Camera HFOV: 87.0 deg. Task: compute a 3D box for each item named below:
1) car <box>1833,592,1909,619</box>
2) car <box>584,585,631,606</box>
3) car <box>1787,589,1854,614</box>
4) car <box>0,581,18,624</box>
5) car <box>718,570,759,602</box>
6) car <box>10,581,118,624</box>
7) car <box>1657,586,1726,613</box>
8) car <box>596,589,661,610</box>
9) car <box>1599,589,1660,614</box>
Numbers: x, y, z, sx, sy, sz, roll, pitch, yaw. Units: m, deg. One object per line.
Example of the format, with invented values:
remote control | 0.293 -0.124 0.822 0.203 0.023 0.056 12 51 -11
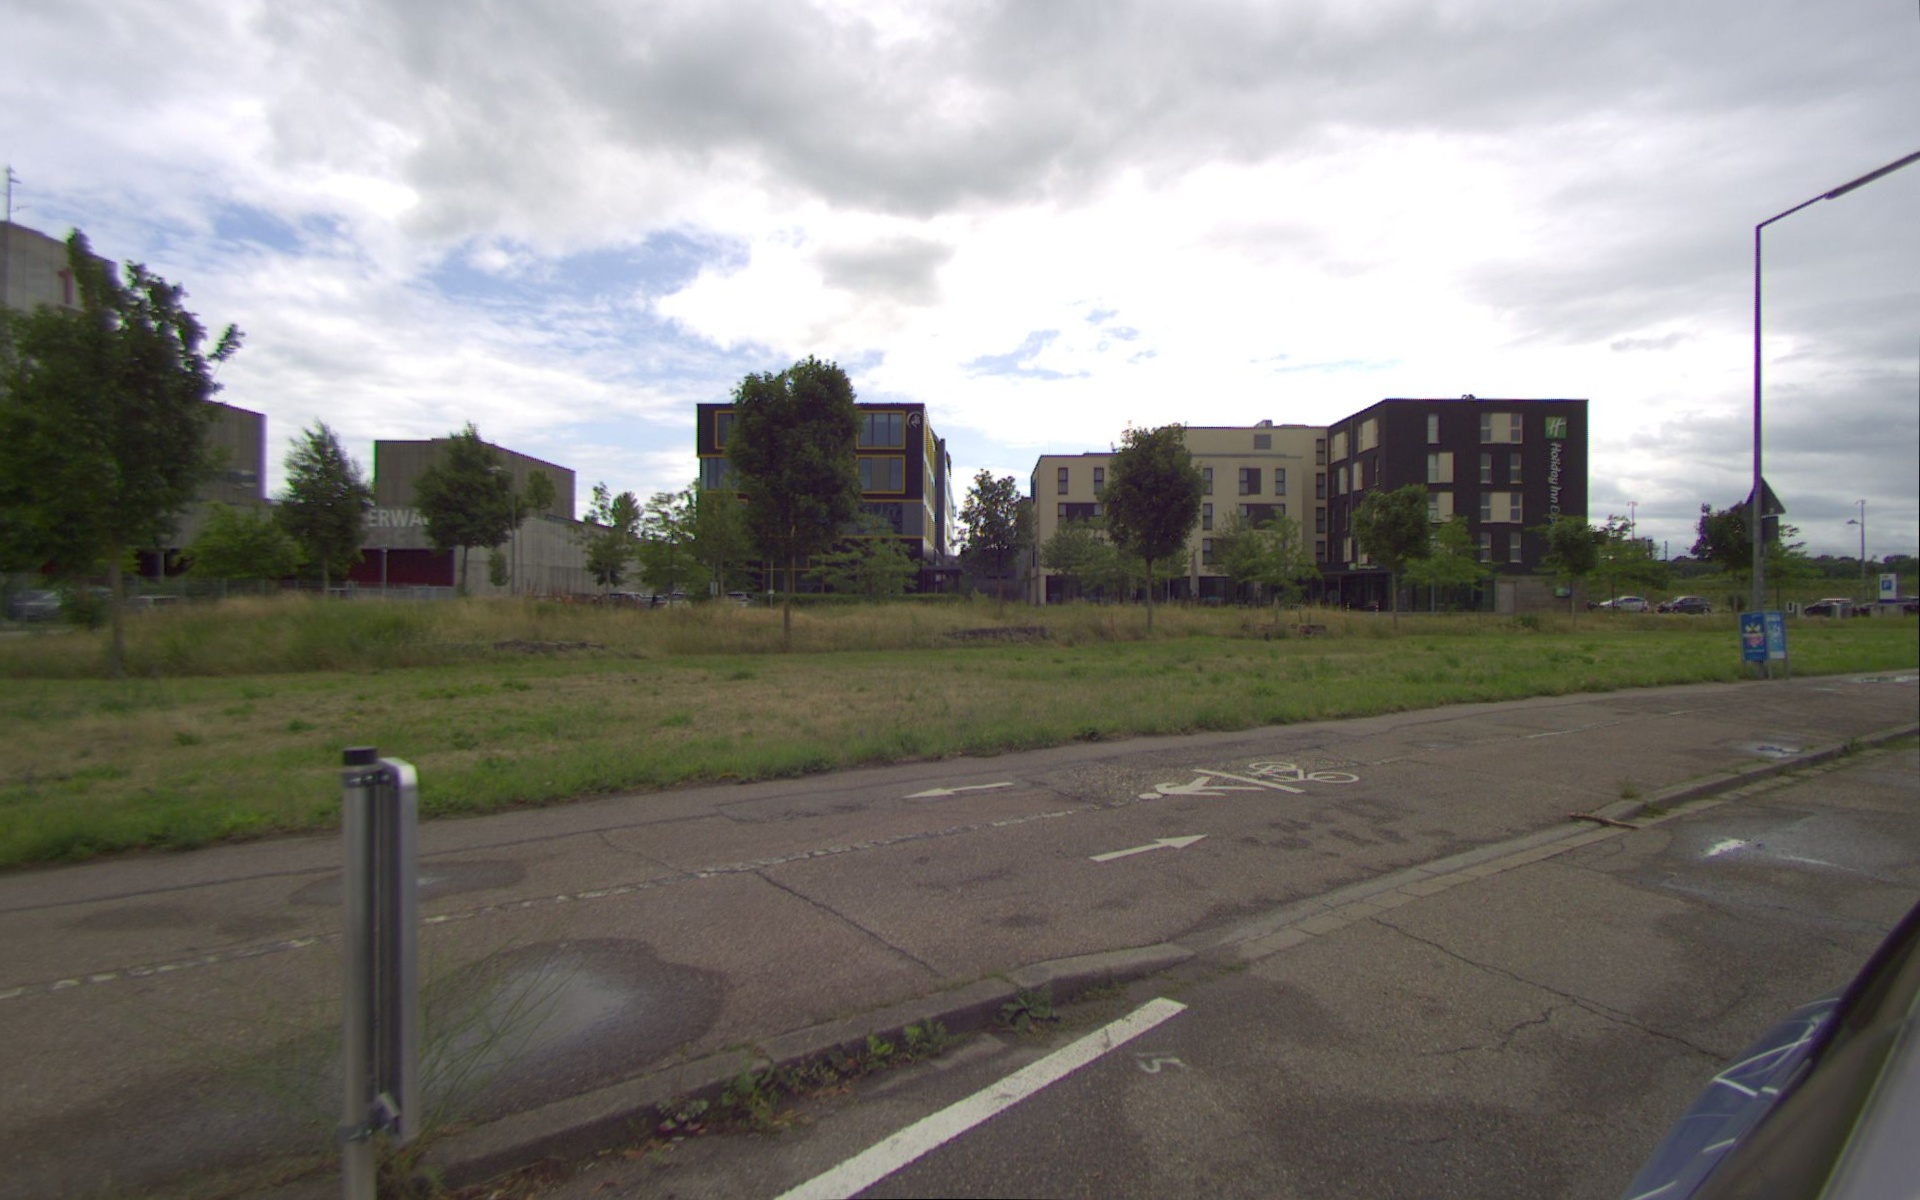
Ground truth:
car | 69.154 0.404 76.851 3.924 2.039 2.000 1 0 0
car | -34.410 -0.455 98.812 3.921 2.039 2.002 1 0 -4
car | 71.679 0.132 84.314 3.921 2.039 2.001 1 0 -3
car | -46.270 0.112 46.781 1.960 2.039 4.004 1 0 -5
car | -14.745 -0.951 67.545 1.961 2.039 4.002 1 0 -2
car | -43.715 0.104 49.507 1.960 2.039 4.004 1 0 -5
car | 57.711 -0.049 79.914 3.924 2.039 2.000 1 0 0
car | -22.519 -0.017 68.763 3.930 1.349 1.561 1 0 6
car | 57.772 0.111 87.399 3.924 2.039 2.000 1 0 0
